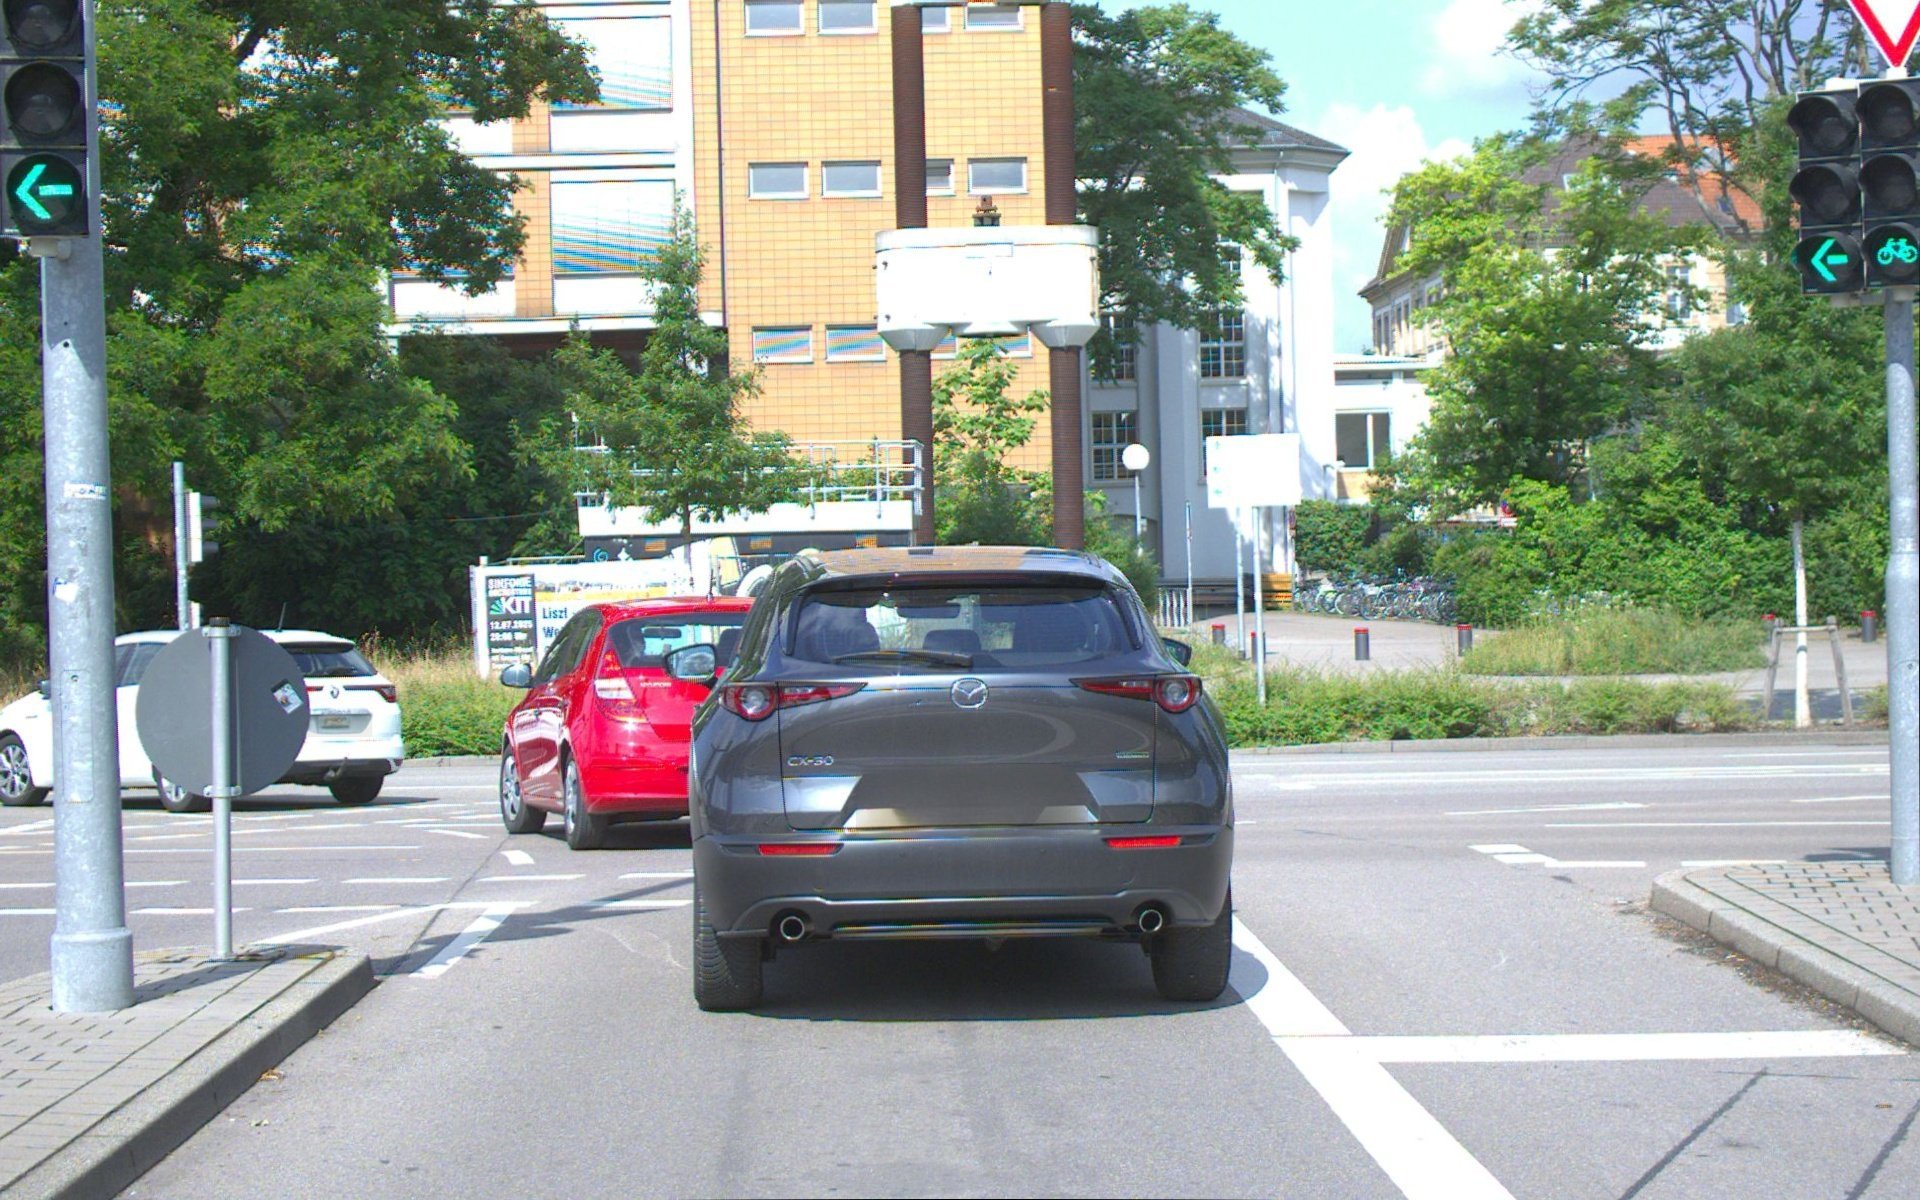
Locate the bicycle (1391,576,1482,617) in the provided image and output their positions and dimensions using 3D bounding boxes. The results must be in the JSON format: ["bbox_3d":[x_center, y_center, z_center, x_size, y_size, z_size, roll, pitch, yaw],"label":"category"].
[{"bbox_3d":[11.590,-0.078,83.628,2.055,0.933,0.804,-2,0,-2],"label":"bicycle"}]

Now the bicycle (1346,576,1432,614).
[{"bbox_3d":[11.034,-0.128,88.436,2.055,0.933,0.804,-2,0,-2],"label":"bicycle"}]

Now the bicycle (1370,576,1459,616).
[{"bbox_3d":[11.221,-0.094,84.960,2.055,0.933,0.804,-2,0,-2],"label":"bicycle"}]

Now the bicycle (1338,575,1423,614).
[{"bbox_3d":[10.936,-0.141,89.427,2.055,0.933,0.804,-2,0,-2],"label":"bicycle"}]

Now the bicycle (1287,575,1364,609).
[{"bbox_3d":[10.423,-0.227,98.019,2.055,0.933,0.804,-2,0,-2],"label":"bicycle"}]

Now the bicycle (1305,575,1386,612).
[{"bbox_3d":[10.443,-0.180,93.159,2.055,0.933,0.804,-2,0,-2],"label":"bicycle"}]

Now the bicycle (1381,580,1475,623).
[{"bbox_3d":[11.019,0.036,80.974,2.055,0.933,0.804,-2,0,-2],"label":"bicycle"}]

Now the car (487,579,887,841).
[{"bbox_3d":[-1.784,0.665,21.126,1.816,1.435,4.068,0,-2,-14],"label":"car"}]

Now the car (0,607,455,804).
[{"bbox_3d":[-6.277,0.872,28.439,4.331,1.467,1.849,-2,0,44],"label":"car"}]

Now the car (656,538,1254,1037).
[{"bbox_3d":[-0.105,0.558,12.634,1.806,1.503,4.205,1,0,-3],"label":"car"}]
